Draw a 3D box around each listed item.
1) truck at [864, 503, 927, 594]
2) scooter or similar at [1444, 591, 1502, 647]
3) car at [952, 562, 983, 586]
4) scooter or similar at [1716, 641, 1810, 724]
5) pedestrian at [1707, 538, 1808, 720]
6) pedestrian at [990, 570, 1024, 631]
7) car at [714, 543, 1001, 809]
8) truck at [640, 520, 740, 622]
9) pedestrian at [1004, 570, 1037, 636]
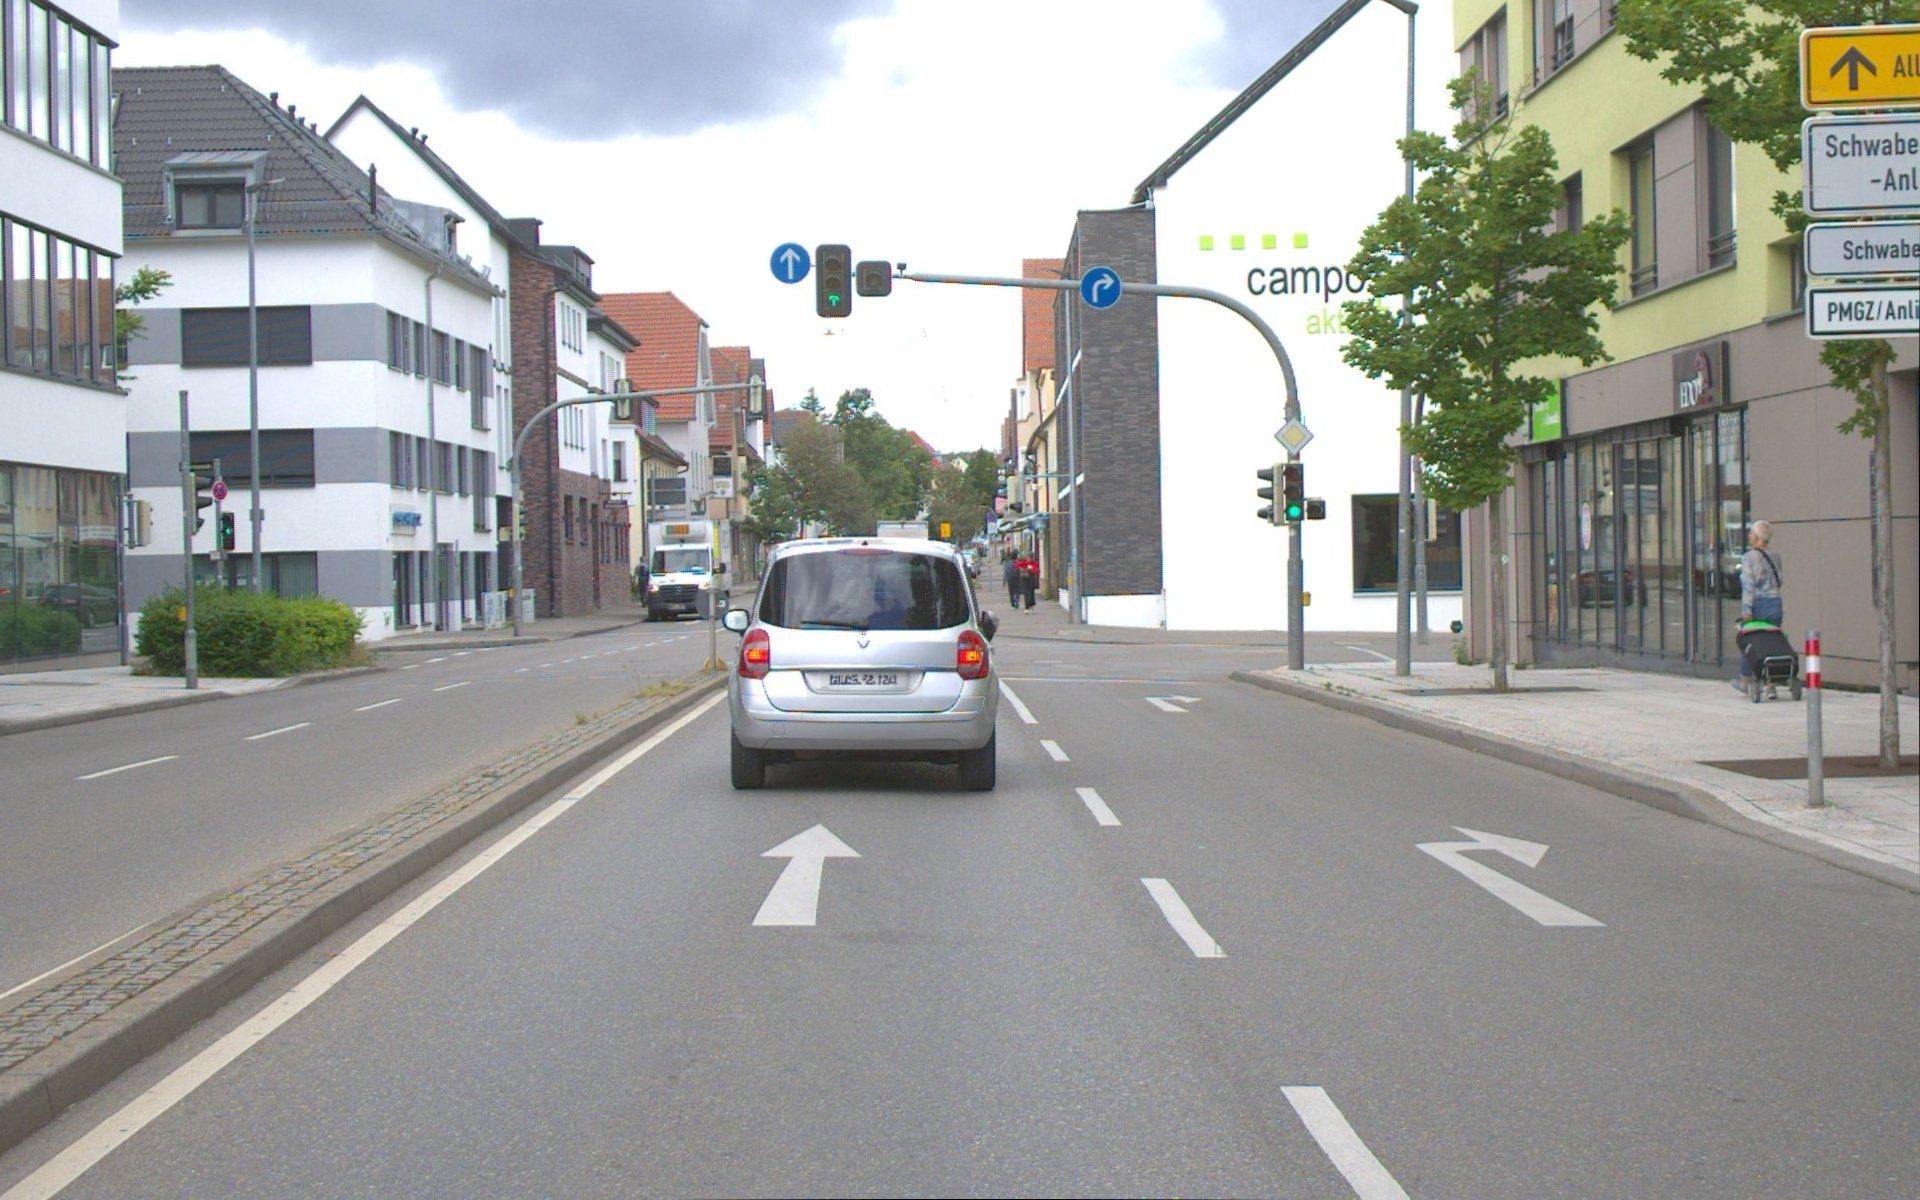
[{"bbox_3d":[-2.774,-2.240,150.128,2.595,3.844,6.849,-1,1,0],"label":"truck"},{"bbox_3d":[11.605,0.429,77.813,1.230,1.231,0.406,1,1,1],"label":"scooter or similar"},{"bbox_3d":[0.449,-1.581,204.975,1.812,1.349,4.000,-2,1,0],"label":"car"},{"bbox_3d":[7.029,0.719,30.107,0.592,0.670,0.824,-2,1,-1],"label":"scooter or similar"},{"bbox_3d":[7.147,0.253,30.823,0.695,1.588,0.603,-2,1,-1],"label":"pedestrian"},{"bbox_3d":[1.424,0.011,104.385,0.889,1.781,0.785,-4,1,0],"label":"pedestrian"},{"bbox_3d":[-0.641,0.429,22.621,1.706,1.573,4.000,1,1,-1],"label":"car"},{"bbox_3d":[-8.193,-0.902,105.013,2.435,2.943,8.365,-1,1,-1],"label":"truck"},{"bbox_3d":[1.685,0.074,96.227,0.807,1.781,0.861,-4,1,0],"label":"pedestrian"}]
